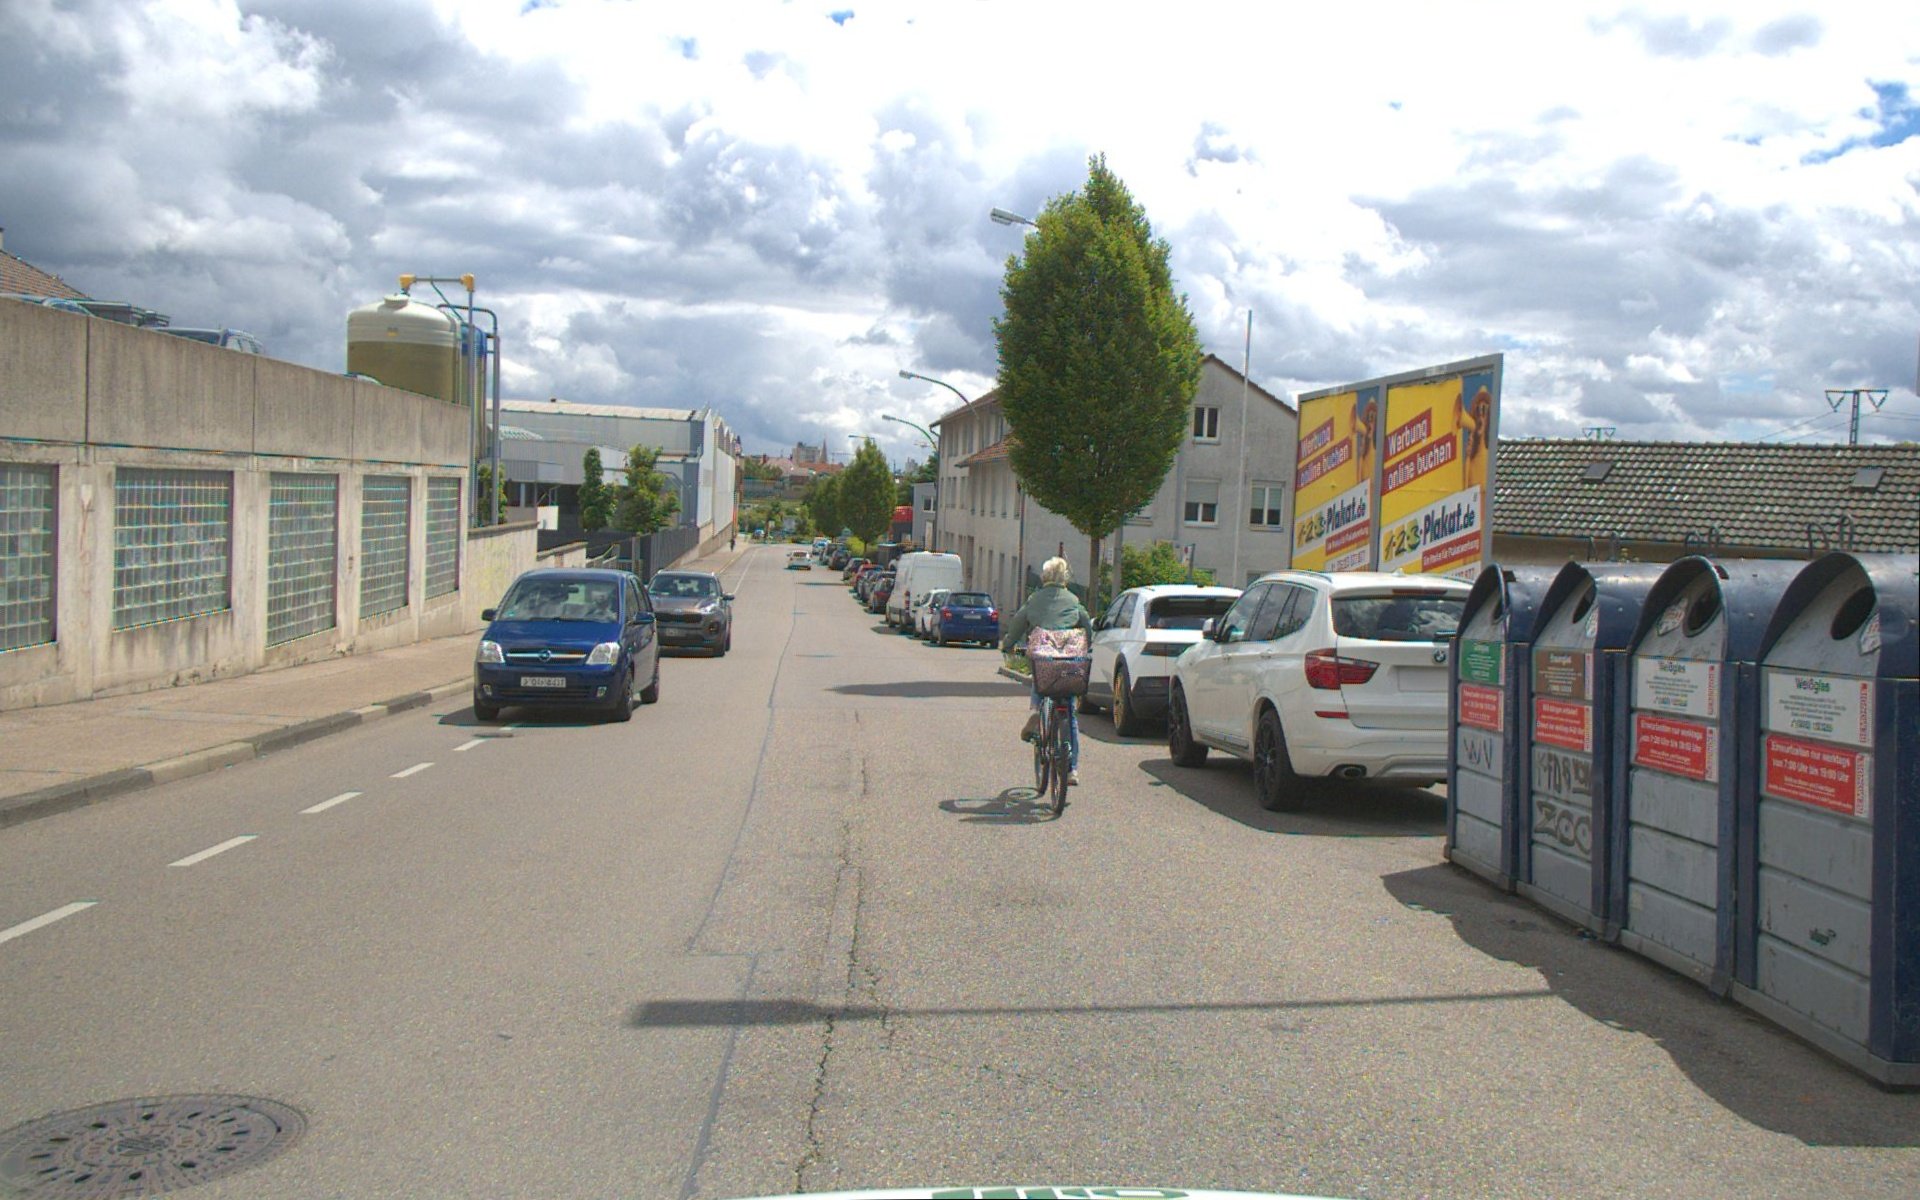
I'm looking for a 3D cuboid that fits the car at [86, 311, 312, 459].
[{"bbox_3d":[-11.411,-3.169,25.121,1.771,1.665,4.100,2,0,-5],"label":"car"}]

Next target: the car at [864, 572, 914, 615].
[{"bbox_3d":[-3.143,-0.316,72.472,1.672,1.535,5.081,4,3,-8],"label":"car"}]

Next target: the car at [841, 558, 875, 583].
[{"bbox_3d":[-6.583,-1.902,106.186,1.757,1.491,4.701,2,2,-8],"label":"car"}]

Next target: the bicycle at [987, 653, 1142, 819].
[{"bbox_3d":[0.706,0.926,11.779,0.726,0.992,1.729,2,1,-9],"label":"bicycle"}]

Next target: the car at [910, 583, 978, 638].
[{"bbox_3d":[-0.524,0.292,50.183,1.563,1.536,3.784,2,0,-8],"label":"car"}]

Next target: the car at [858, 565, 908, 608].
[{"bbox_3d":[-3.657,-0.659,78.019,1.646,1.666,4.787,4,3,-10],"label":"car"}]

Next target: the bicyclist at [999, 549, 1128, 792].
[{"bbox_3d":[0.727,0.485,11.756,0.726,1.655,0.730,2,0,-9],"label":"bicyclist"}]

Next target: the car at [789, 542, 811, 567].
[{"bbox_3d":[-12.232,-3.470,126.401,1.537,1.817,3.600,2,0,-7],"label":"car"}]

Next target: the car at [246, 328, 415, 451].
[{"bbox_3d":[-11.413,-3.770,30.274,1.771,1.665,4.100,2,0,-5],"label":"car"}]

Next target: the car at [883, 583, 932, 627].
[{"bbox_3d":[-2.001,0.152,62.440,1.562,1.472,3.786,2,1,-6],"label":"car"}]

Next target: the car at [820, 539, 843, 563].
[{"bbox_3d":[-11.466,-4.388,147.317,1.833,2.024,5.137,2,2,-7],"label":"car"}]

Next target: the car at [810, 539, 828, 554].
[{"bbox_3d":[-16.293,-6.200,191.083,1.671,1.553,3.730,5,2,-10],"label":"car"}]

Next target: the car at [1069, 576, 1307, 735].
[{"bbox_3d":[2.444,0.546,18.855,1.806,1.592,4.462,0,0,-4],"label":"car"}]

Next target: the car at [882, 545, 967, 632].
[{"bbox_3d":[-1.289,-0.382,56.195,1.995,2.687,7.270,2,0,-8],"label":"car"}]

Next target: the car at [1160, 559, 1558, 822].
[{"bbox_3d":[2.890,0.583,13.040,1.653,1.688,4.475,1,0,-6],"label":"car"}]

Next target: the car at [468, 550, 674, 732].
[{"bbox_3d":[-4.328,0.416,18.911,1.594,1.849,3.778,1,0,-3],"label":"car"}]

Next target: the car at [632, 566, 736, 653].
[{"bbox_3d":[-5.560,0.165,33.709,1.764,1.650,4.088,1,1,-5],"label":"car"}]

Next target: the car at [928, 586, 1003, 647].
[{"bbox_3d":[0.102,0.416,45.381,1.537,1.536,4.088,2,0,-7],"label":"car"}]

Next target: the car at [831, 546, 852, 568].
[{"bbox_3d":[-9.517,-3.450,132.607,1.646,1.666,4.119,2,2,-5],"label":"car"}]

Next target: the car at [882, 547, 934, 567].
[{"bbox_3d":[-4.013,-3.277,126.742,1.713,1.488,4.008,-3,4,-45],"label":"car"}]
